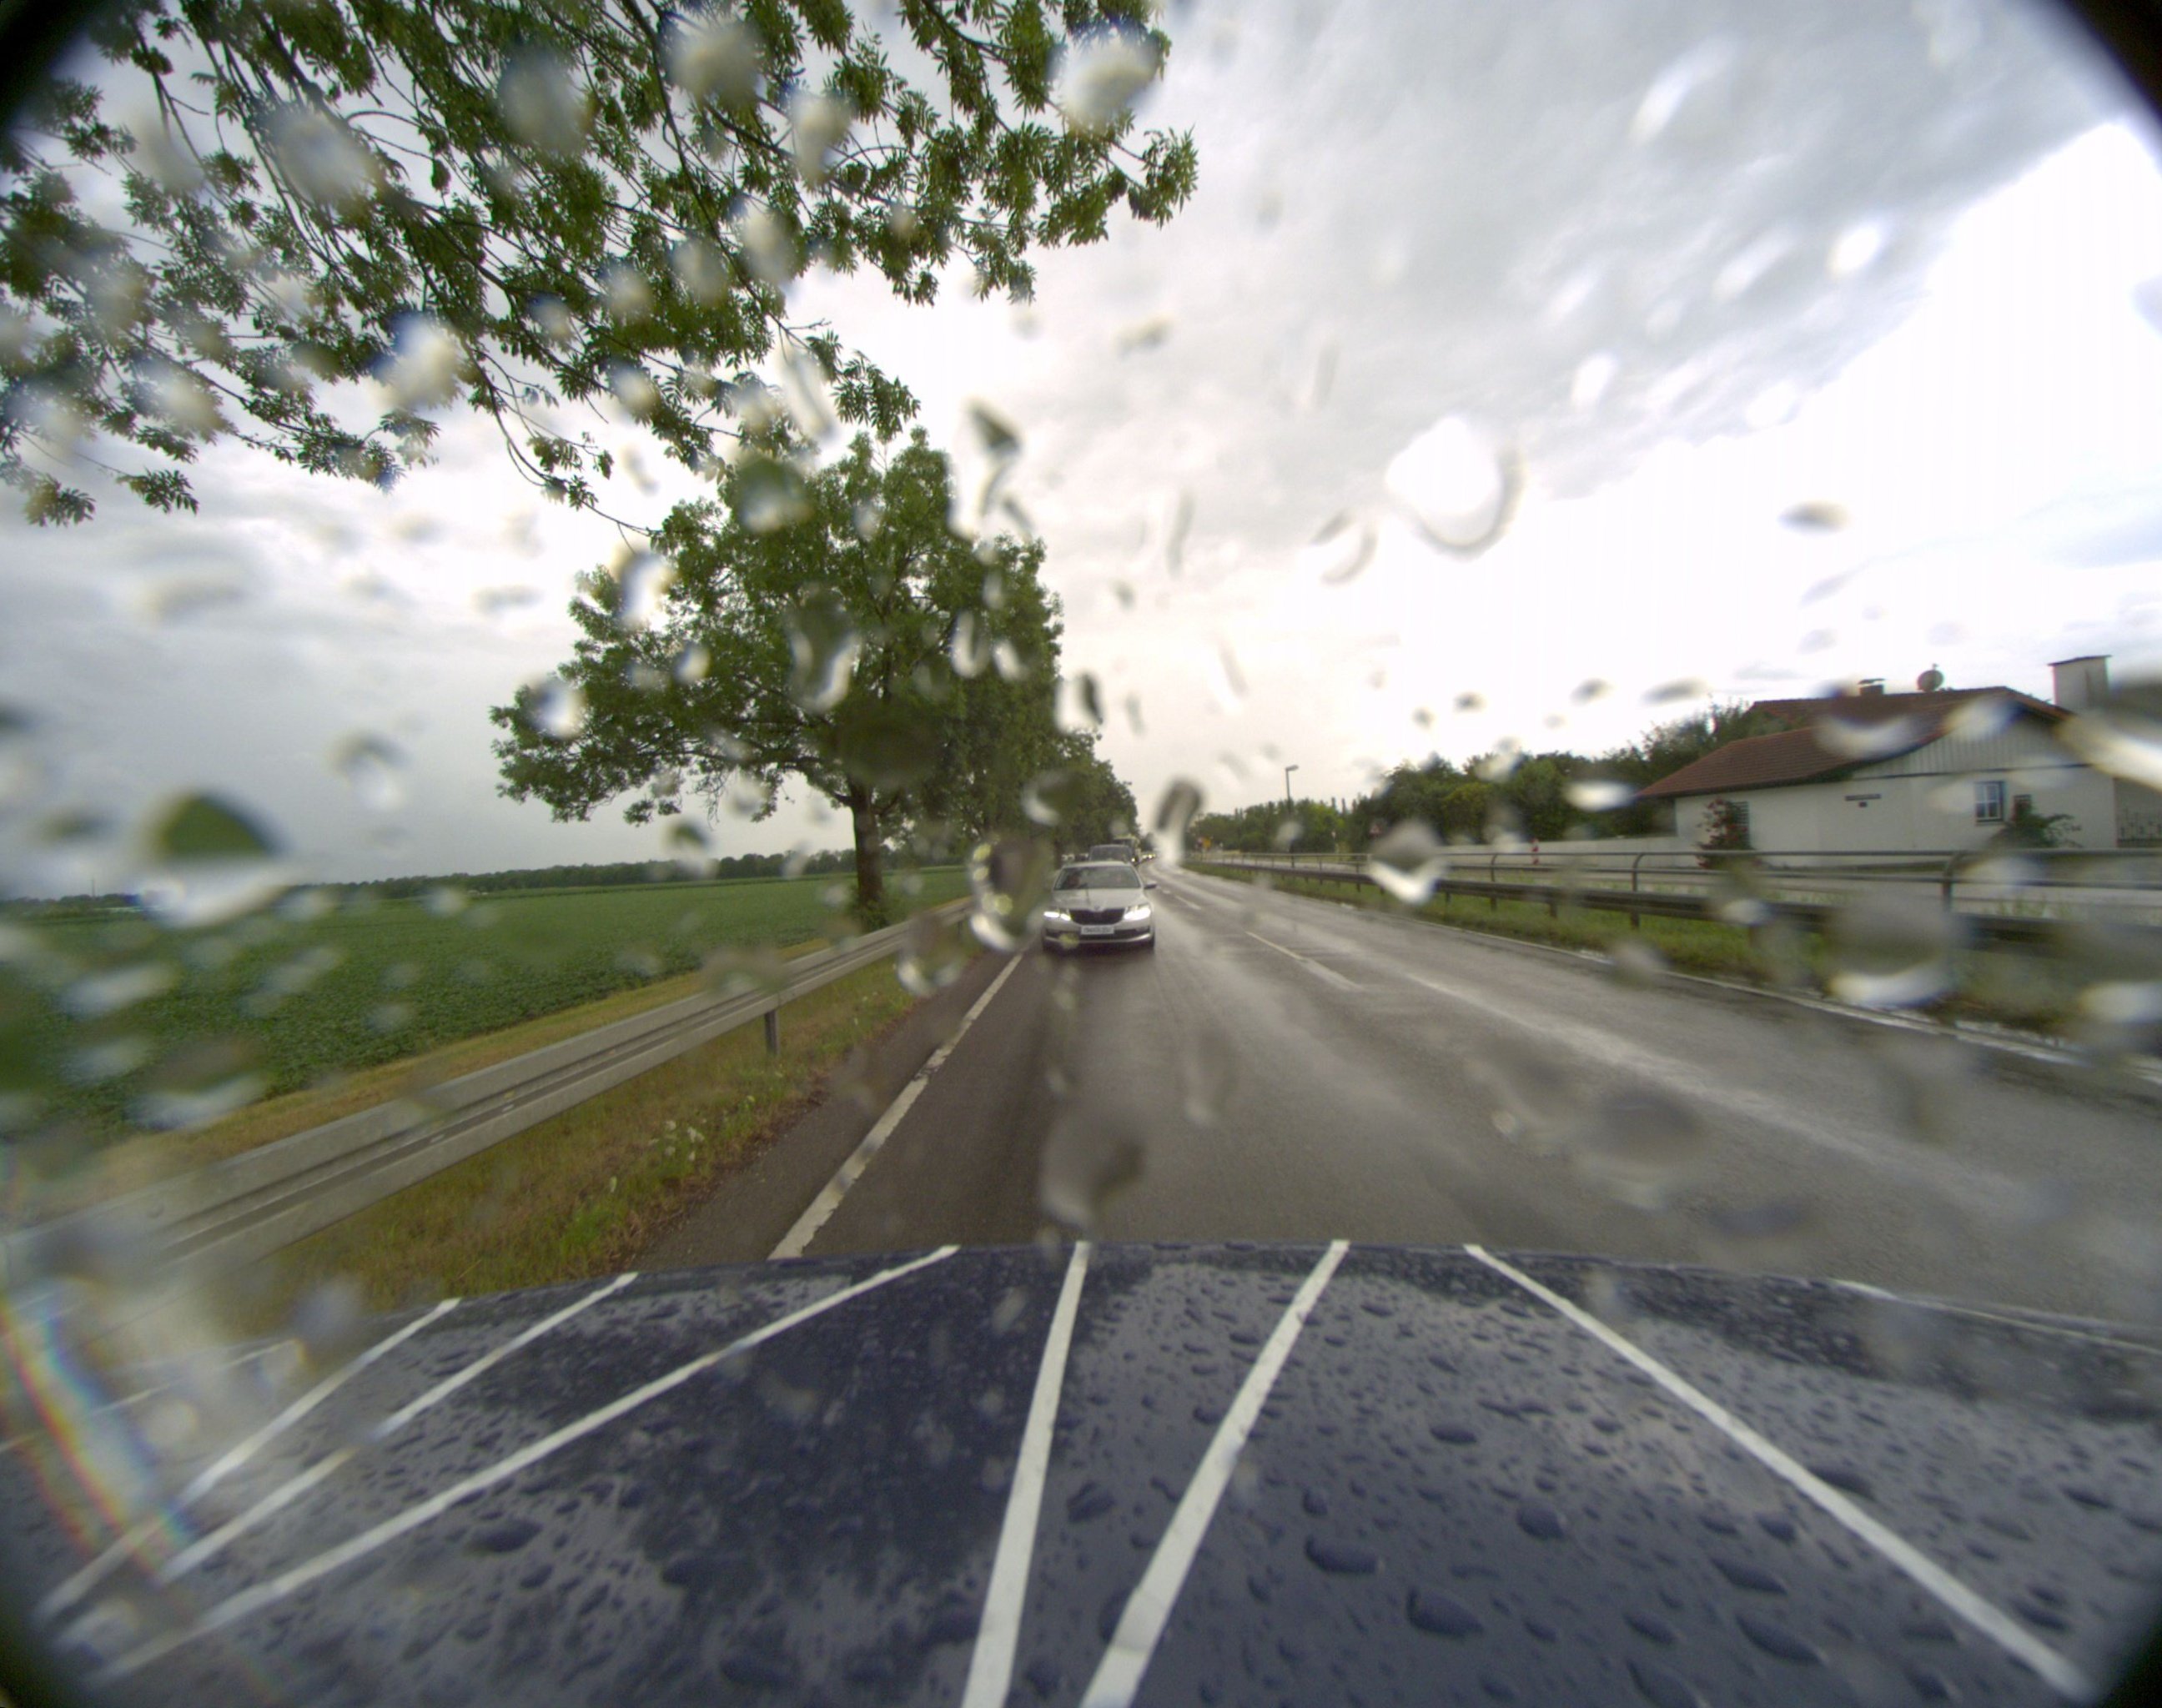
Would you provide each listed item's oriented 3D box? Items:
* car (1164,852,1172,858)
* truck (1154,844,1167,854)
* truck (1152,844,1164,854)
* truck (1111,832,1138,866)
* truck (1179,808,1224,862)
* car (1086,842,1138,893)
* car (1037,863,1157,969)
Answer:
[{"bbox_3d":[27.075,0.310,236.641,1.998,2.002,4.100,-3,0,1],"label":"car"},{"bbox_3d":[20.338,-1.336,194.595,2.800,2.461,7.169,-3,0,4],"label":"truck"},{"bbox_3d":[21.375,-1.385,211.328,2.800,2.461,7.169,-3,0,4],"label":"truck"},{"bbox_3d":[5.016,-0.593,88.472,2.751,3.547,8.387,-3,0,2],"label":"truck"},{"bbox_3d":[11.970,-1.813,76.000,3.256,5.004,7.784,-4,0,2],"label":"truck"},{"bbox_3d":[1.175,0.505,30.379,1.903,1.884,4.000,-1,0,0],"label":"car"},{"bbox_3d":[0.244,0.927,13.011,1.705,1.438,4.000,-1,0,0],"label":"car"}]
